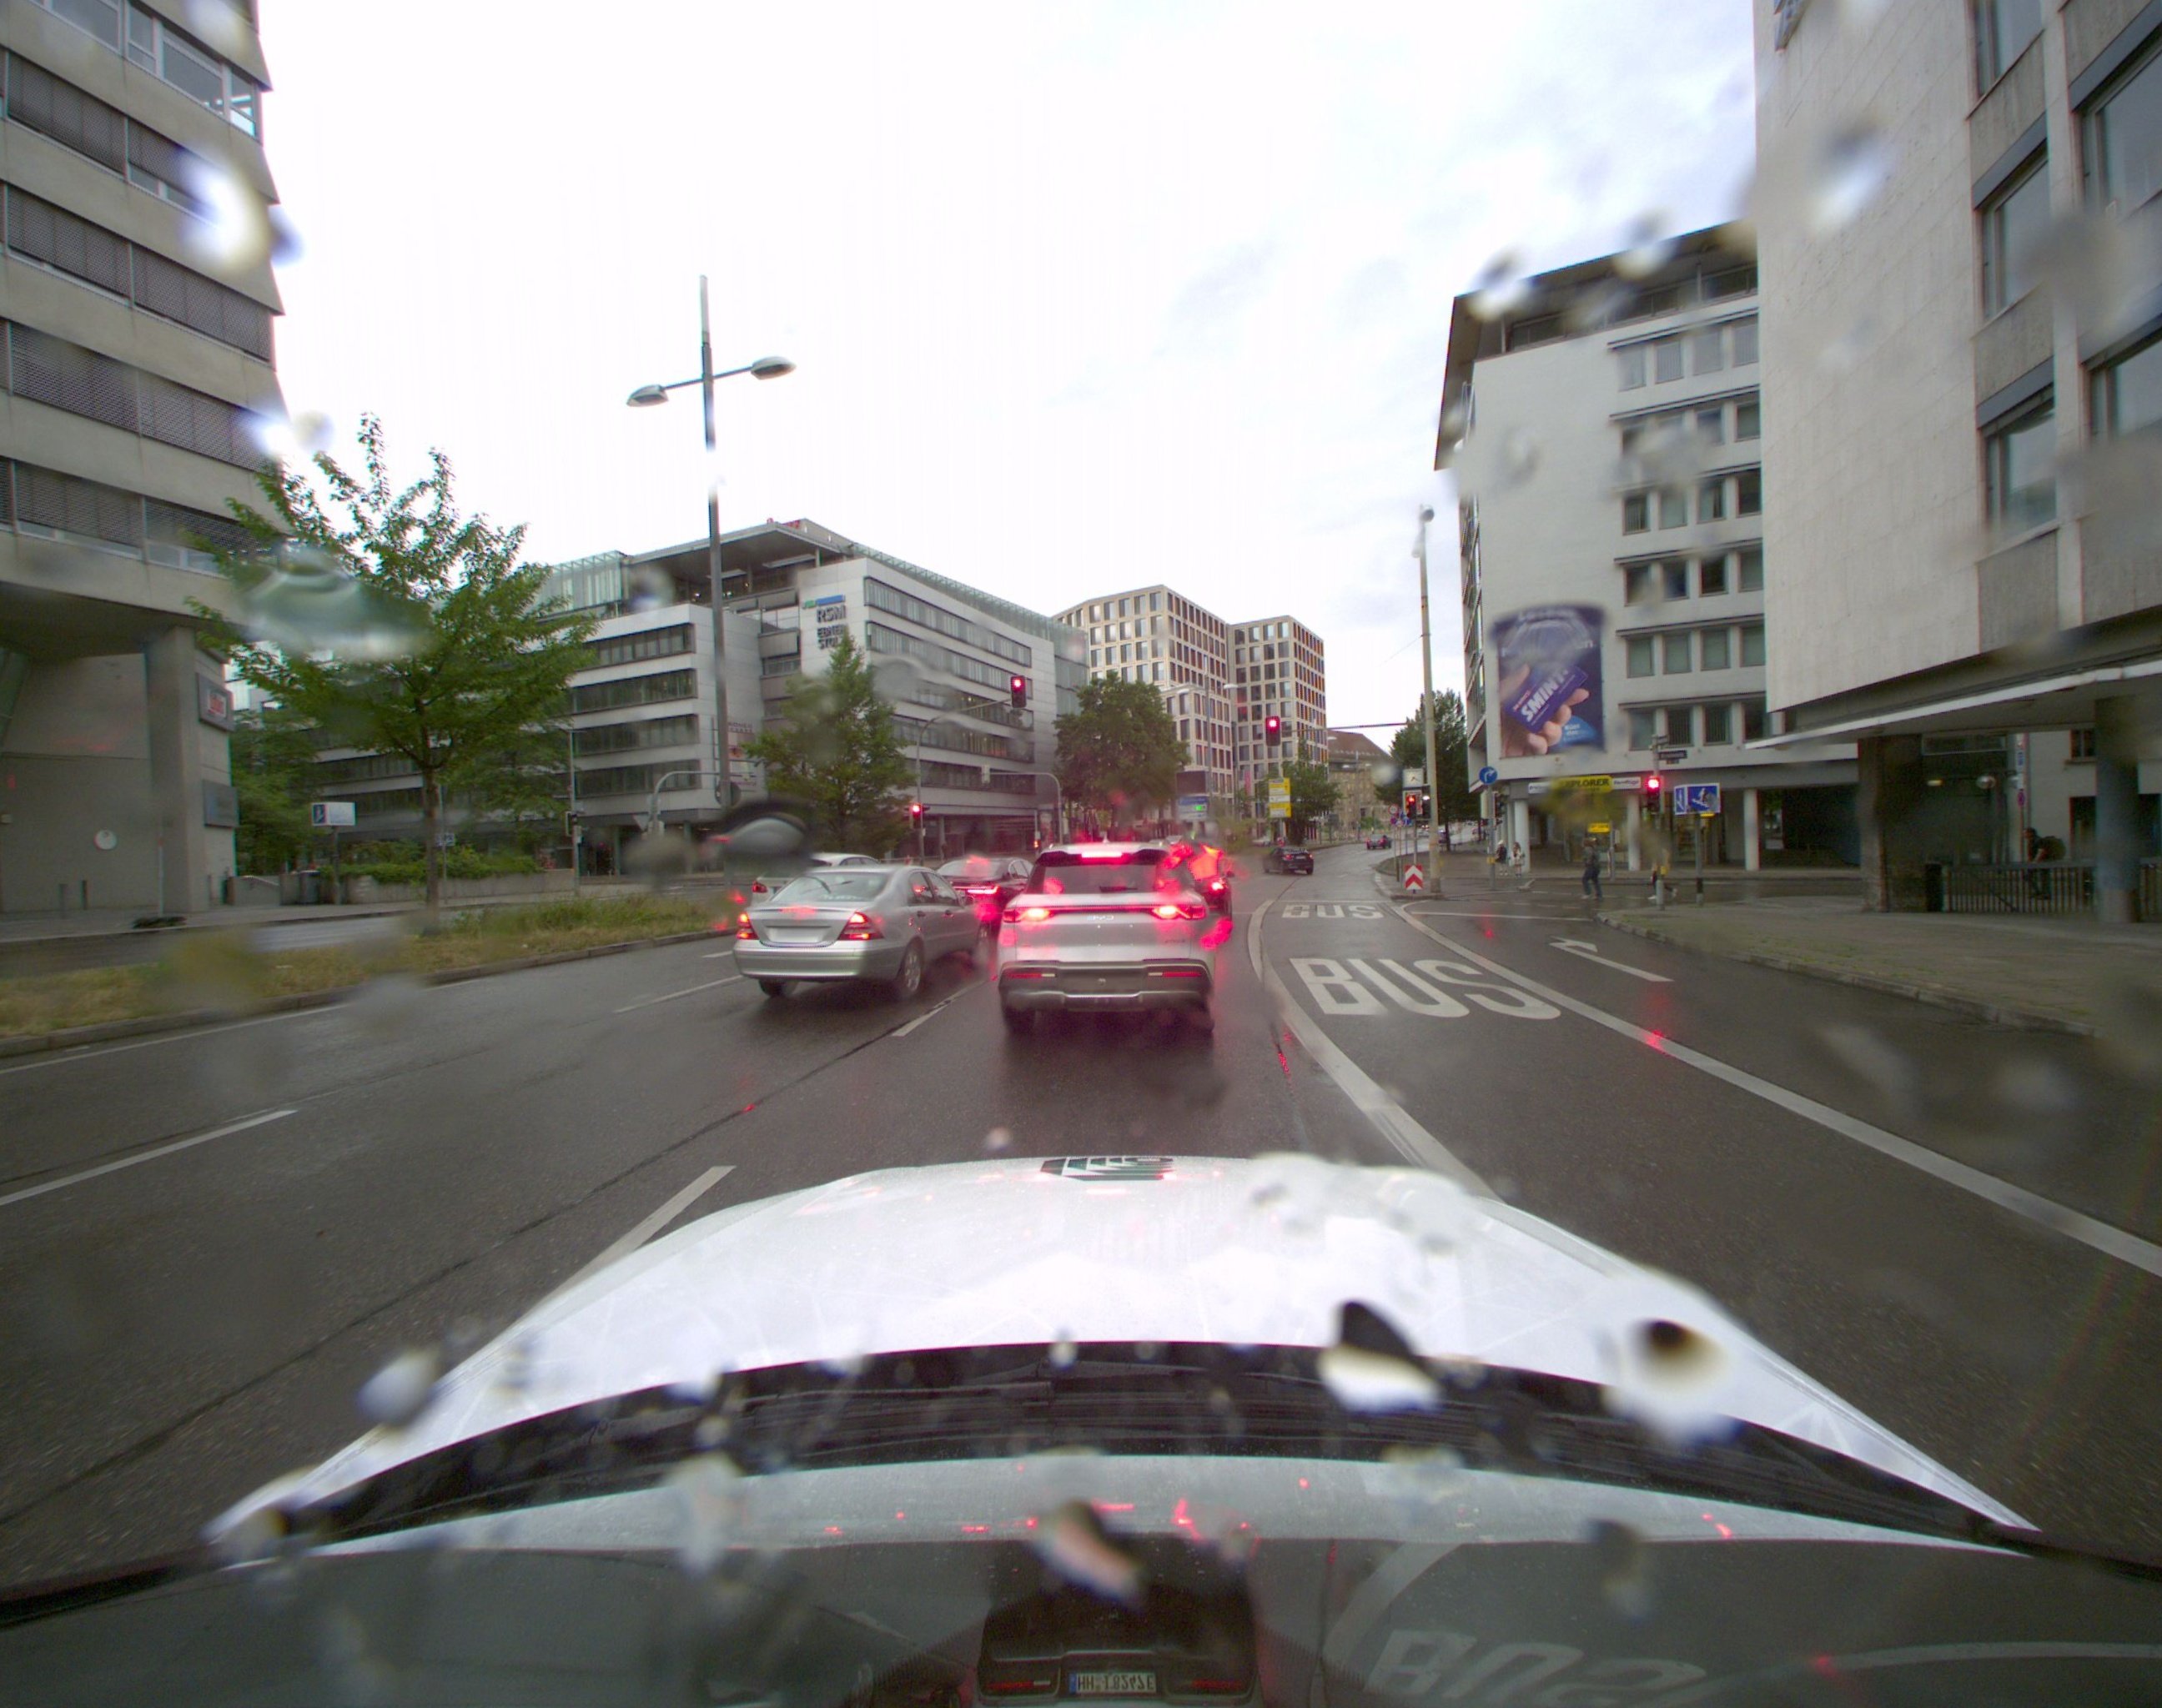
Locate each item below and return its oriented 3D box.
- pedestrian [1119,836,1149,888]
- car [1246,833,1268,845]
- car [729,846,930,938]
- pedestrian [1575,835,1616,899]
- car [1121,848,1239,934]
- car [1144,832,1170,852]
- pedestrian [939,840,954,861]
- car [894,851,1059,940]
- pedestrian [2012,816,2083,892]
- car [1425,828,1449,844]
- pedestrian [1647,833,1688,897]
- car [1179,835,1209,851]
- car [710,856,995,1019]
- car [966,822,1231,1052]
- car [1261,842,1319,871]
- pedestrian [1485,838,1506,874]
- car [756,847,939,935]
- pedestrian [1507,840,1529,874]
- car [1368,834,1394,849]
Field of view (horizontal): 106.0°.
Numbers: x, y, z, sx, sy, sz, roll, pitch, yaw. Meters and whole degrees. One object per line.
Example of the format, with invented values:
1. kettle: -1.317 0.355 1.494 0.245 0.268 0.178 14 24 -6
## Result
1. pedestrian: 1.818 0.269 28.102 0.920 1.738 0.729 -2 0 -3
2. car: 25.935 -2.227 119.802 1.974 1.705 4.336 -1 2 29
3. car: -4.868 0.660 16.471 1.770 1.573 4.306 -2 0 16
4. pedestrian: 14.750 0.368 23.367 0.806 1.798 0.714 -1 0 18
5. car: 2.161 0.669 16.722 1.941 1.530 4.015 -1 0 13
6. car: 8.521 -1.371 91.173 1.722 2.161 4.516 0 0 20
7. pedestrian: -10.828 -0.277 65.587 0.721 1.727 0.930 -1 0 24
8. car: -1.919 0.727 16.343 1.941 1.530 4.015 -1 0 13
9. pedestrian: 23.022 -0.008 19.417 0.800 1.755 1.005 0 0 -44
10. car: 40.990 -2.061 93.641 2.027 1.765 4.384 0 1 30
11. pedestrian: 16.670 0.309 23.165 0.721 1.798 0.742 -1 0 18
12. car: 12.934 -1.293 93.048 1.974 1.705 4.026 0 2 31
13. car: -2.450 0.823 9.960 1.672 1.486 4.208 -1 0 9
14. car: 0.321 0.601 8.362 1.984 1.709 4.489 0 0 5
15. car: 11.697 0.127 45.818 1.990 1.552 3.994 0 1 -4
16. pedestrian: 19.179 0.096 37.701 0.721 1.668 0.694 -1 -1 18
17. car: -4.702 0.669 17.061 1.871 1.596 4.016 -1 0 14
18. pedestrian: 19.874 0.148 37.048 0.721 1.524 0.763 -1 -1 18
19. car: 30.545 -1.281 82.873 1.892 1.510 4.383 0 1 29
